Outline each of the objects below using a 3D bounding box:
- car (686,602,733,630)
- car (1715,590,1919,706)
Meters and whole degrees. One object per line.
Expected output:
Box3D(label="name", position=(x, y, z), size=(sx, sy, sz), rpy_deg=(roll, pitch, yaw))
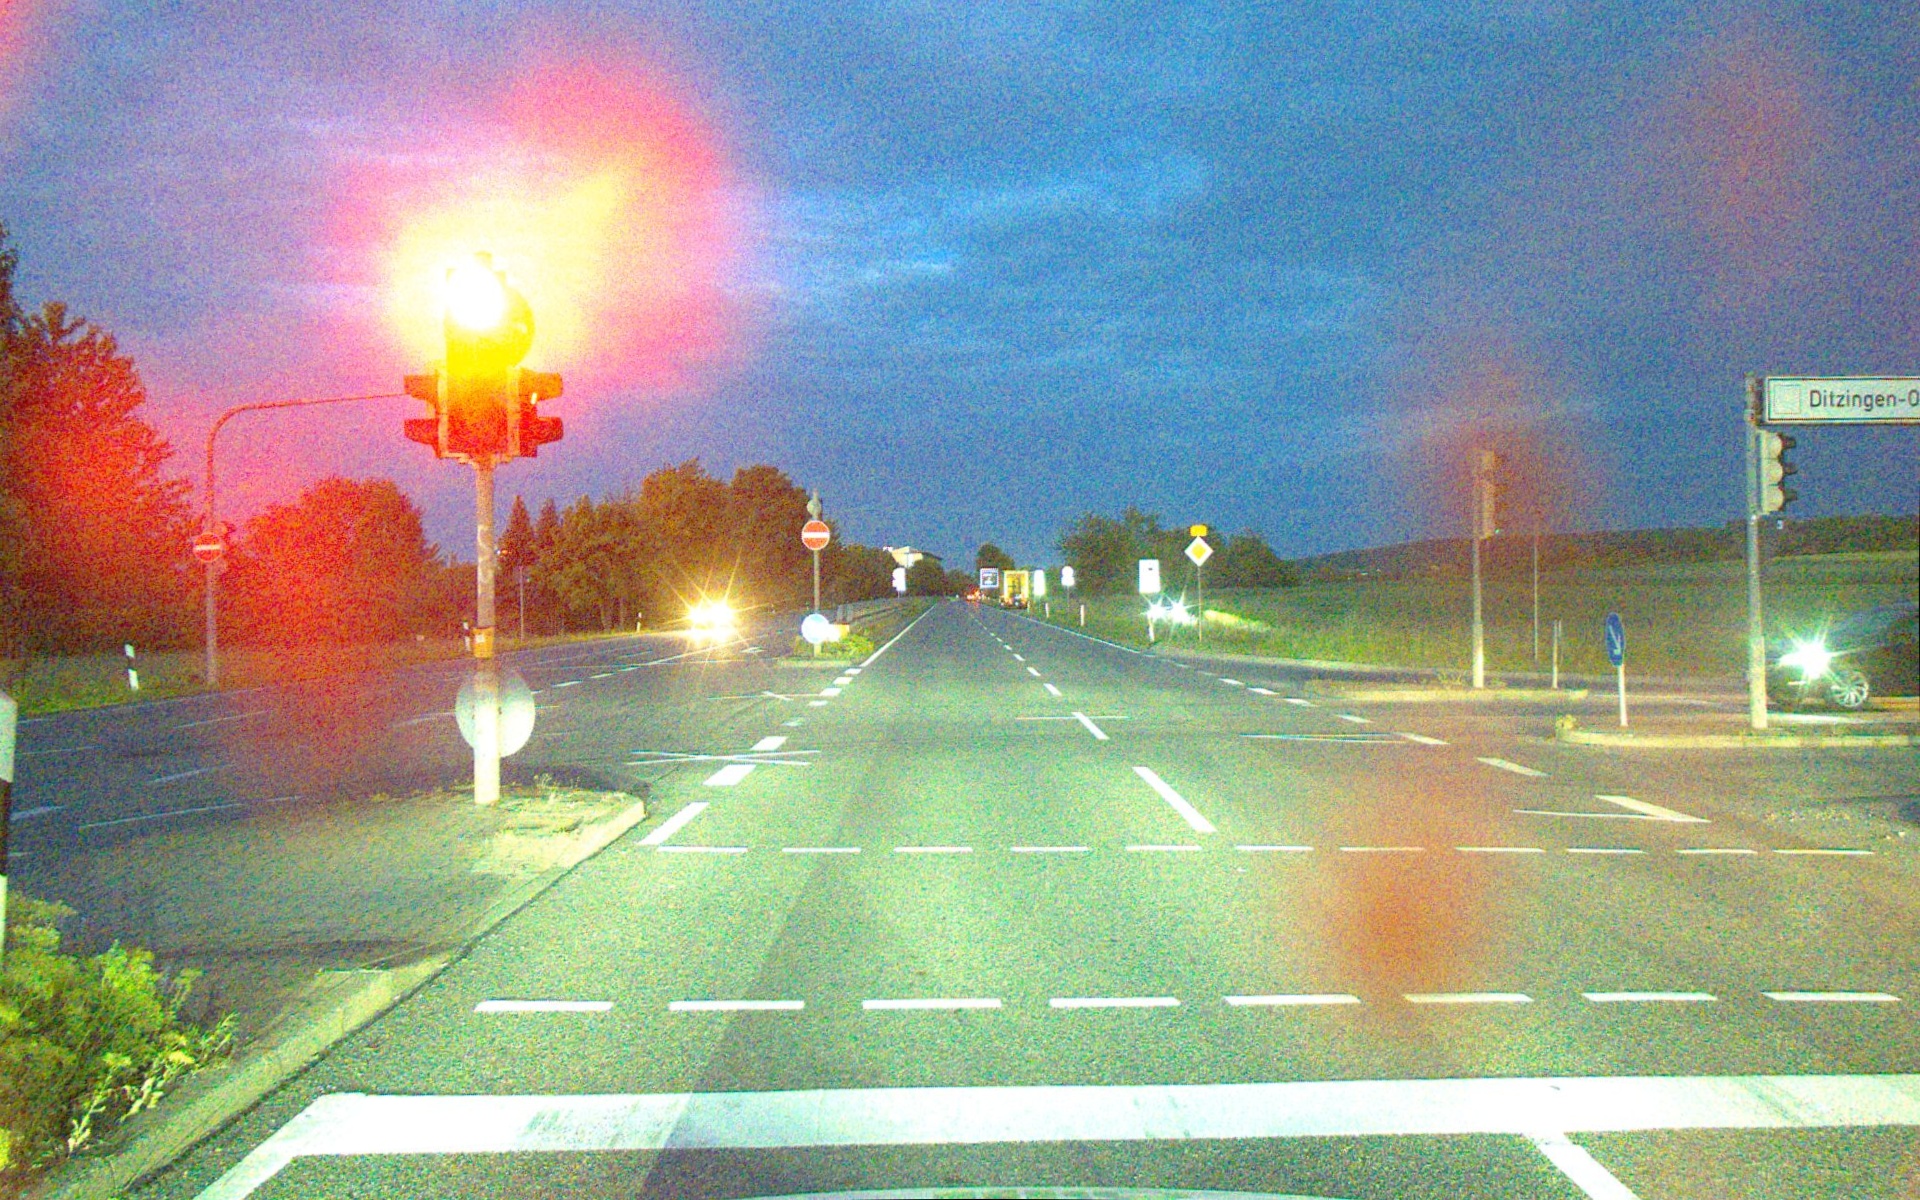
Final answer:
Box3D(label="car", position=(-13.315, 0.827, 88.189), size=(1.953, 1.411, 3.999), rpy_deg=(-1, 0, -1))
Box3D(label="car", position=(13.487, 0.636, 23.607), size=(4.506, 1.547, 2.000), rpy_deg=(-1, 0, 0))
